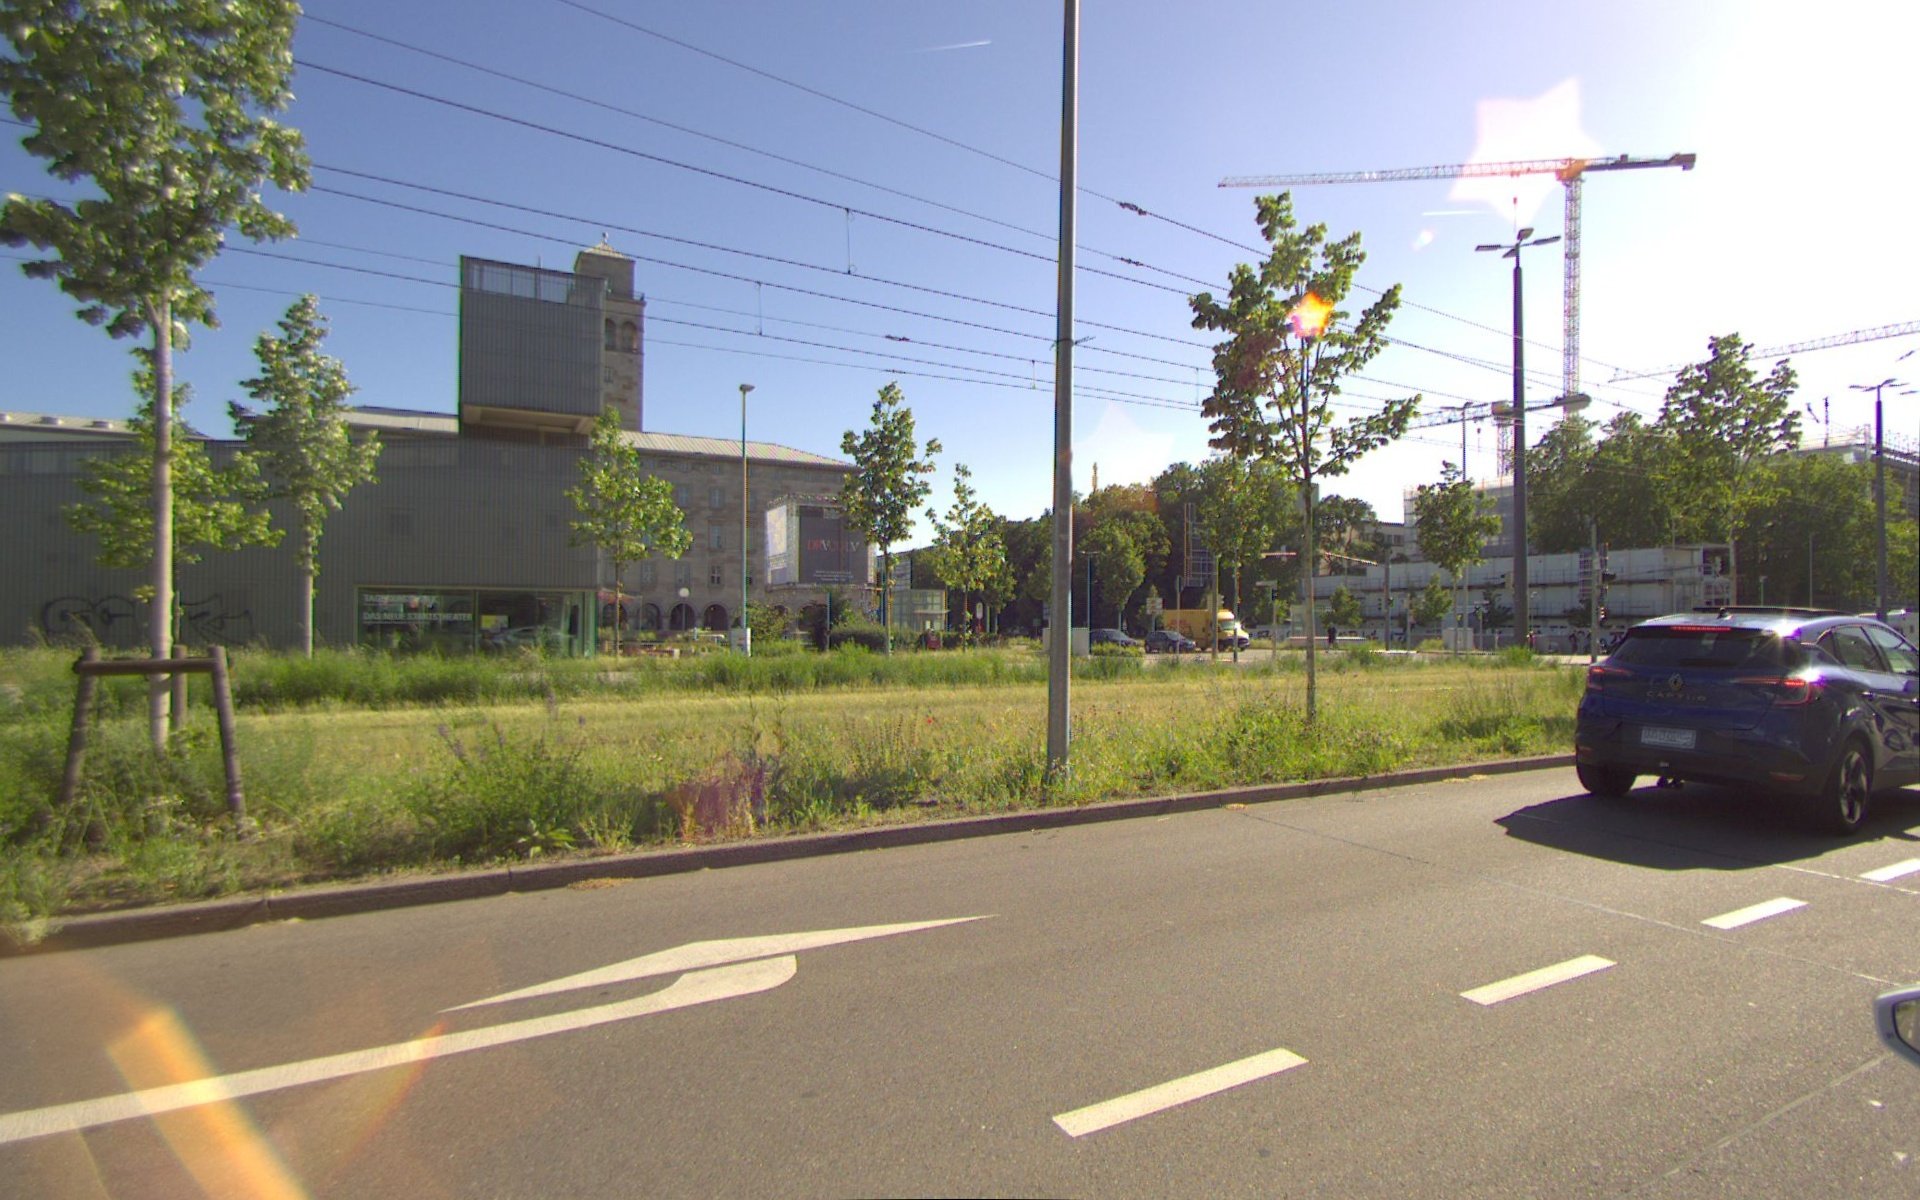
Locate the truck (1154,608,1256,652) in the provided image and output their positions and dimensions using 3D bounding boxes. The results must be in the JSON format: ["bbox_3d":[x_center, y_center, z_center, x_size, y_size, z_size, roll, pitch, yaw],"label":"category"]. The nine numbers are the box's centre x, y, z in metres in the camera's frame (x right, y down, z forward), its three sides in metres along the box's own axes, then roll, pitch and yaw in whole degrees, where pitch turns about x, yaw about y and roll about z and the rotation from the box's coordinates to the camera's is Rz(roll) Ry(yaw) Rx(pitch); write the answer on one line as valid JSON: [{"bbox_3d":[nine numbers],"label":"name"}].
[{"bbox_3d":[16.697,2.015,69.103,2.429,2.829,7.985,1,-1,-25],"label":"truck"}]

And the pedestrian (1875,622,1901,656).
[{"bbox_3d":[50.442,2.105,54.602,0.966,1.847,0.795,1,-1,-33],"label":"pedestrian"}]

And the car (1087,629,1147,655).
[{"bbox_3d":[9.924,2.626,63.766,1.877,1.559,3.976,1,-1,-25],"label":"car"}]

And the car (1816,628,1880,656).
[{"bbox_3d":[56.372,2.650,63.750,4.319,1.730,1.935,1,-2,-32],"label":"car"}]

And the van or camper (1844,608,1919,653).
[{"bbox_3d":[63.429,2.091,68.659,7.261,2.976,2.591,1,-2,-32],"label":"van or camper"}]

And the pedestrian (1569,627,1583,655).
[{"bbox_3d":[41.116,2.736,67.040,0.687,1.847,0.595,0,-1,22],"label":"pedestrian"}]

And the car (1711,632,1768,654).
[{"bbox_3d":[58.393,3.185,75.219,3.951,1.622,1.985,1,-2,-29],"label":"car"}]

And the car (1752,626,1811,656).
[{"bbox_3d":[55.704,2.778,68.133,3.954,1.981,1.861,1,-1,-31],"label":"car"}]

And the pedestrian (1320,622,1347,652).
[{"bbox_3d":[22.244,2.200,59.866,0.933,1.708,1.190,-1,0,-20],"label":"pedestrian"}]

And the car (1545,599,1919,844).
[{"bbox_3d":[6.976,0.847,8.501,4.041,1.609,1.761,1,0,-31],"label":"car"}]

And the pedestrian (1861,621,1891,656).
[{"bbox_3d":[48.879,2.048,53.617,0.864,1.847,0.803,0,-1,2],"label":"pedestrian"}]

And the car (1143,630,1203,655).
[{"bbox_3d":[14.007,2.778,66.171,1.877,1.559,3.976,1,-1,-25],"label":"car"}]

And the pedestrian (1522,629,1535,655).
[{"bbox_3d":[40.850,2.994,72.168,0.687,1.847,0.595,0,-1,22],"label":"pedestrian"}]

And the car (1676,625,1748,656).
[{"bbox_3d":[43.392,2.321,57.942,4.040,1.711,1.819,1,-1,-28],"label":"car"}]
